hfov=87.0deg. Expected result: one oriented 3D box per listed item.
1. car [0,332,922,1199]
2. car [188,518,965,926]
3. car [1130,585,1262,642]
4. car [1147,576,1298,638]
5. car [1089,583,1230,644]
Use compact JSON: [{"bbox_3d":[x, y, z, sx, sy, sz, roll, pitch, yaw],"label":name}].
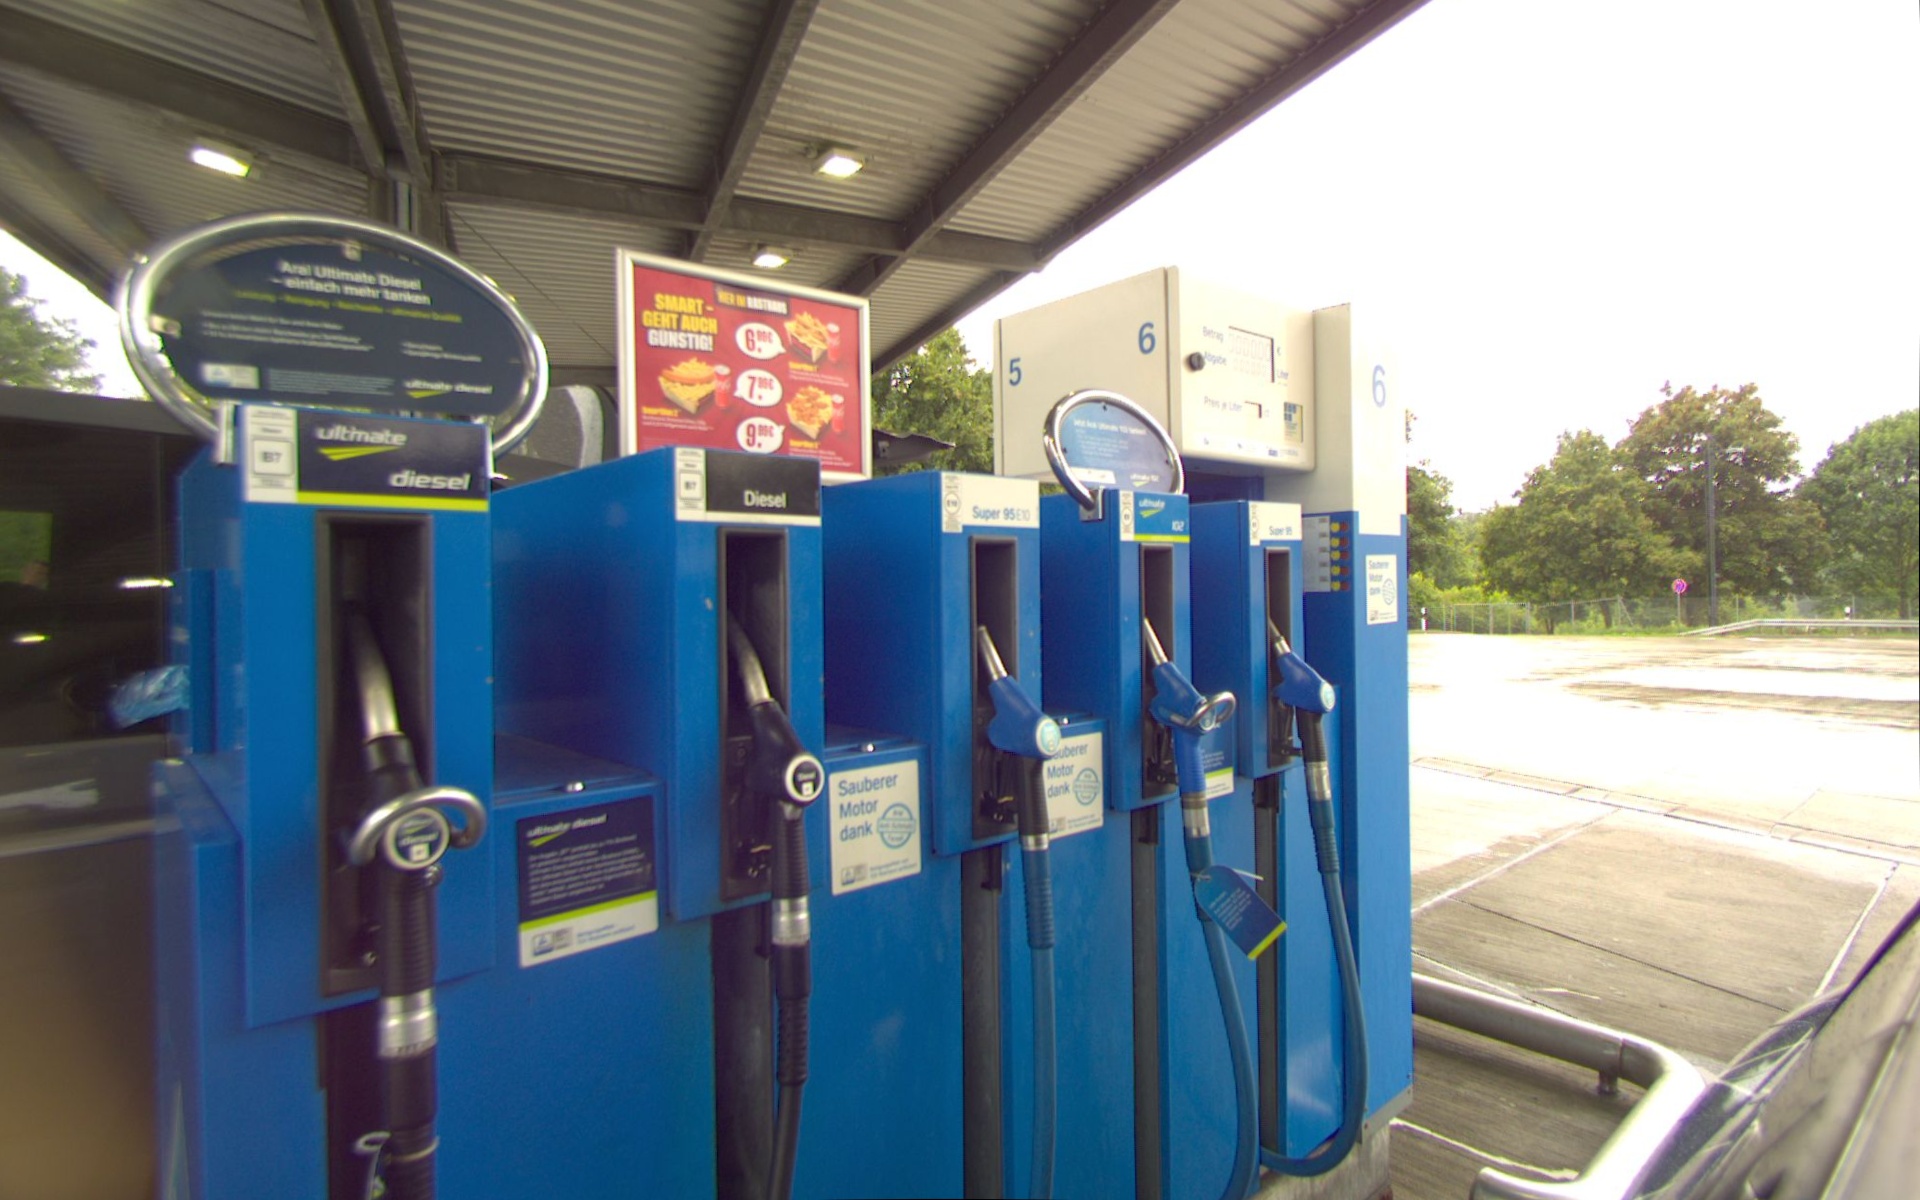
[{"bbox_3d":[-2.613,0.501,1.807,5.050,1.821,1.864,-1,0,-41],"label":"car"},{"bbox_3d":[-2.249,0.517,6.693,4.460,1.821,1.864,-1,0,-41],"label":"car"},{"bbox_3d":[7.416,0.384,31.909,3.941,1.680,1.593,1,0,14],"label":"car"},{"bbox_3d":[8.878,0.205,34.491,4.817,1.974,2.306,1,1,14],"label":"car"},{"bbox_3d":[5.861,0.372,29.718,3.941,1.680,1.593,1,0,14],"label":"car"}]
